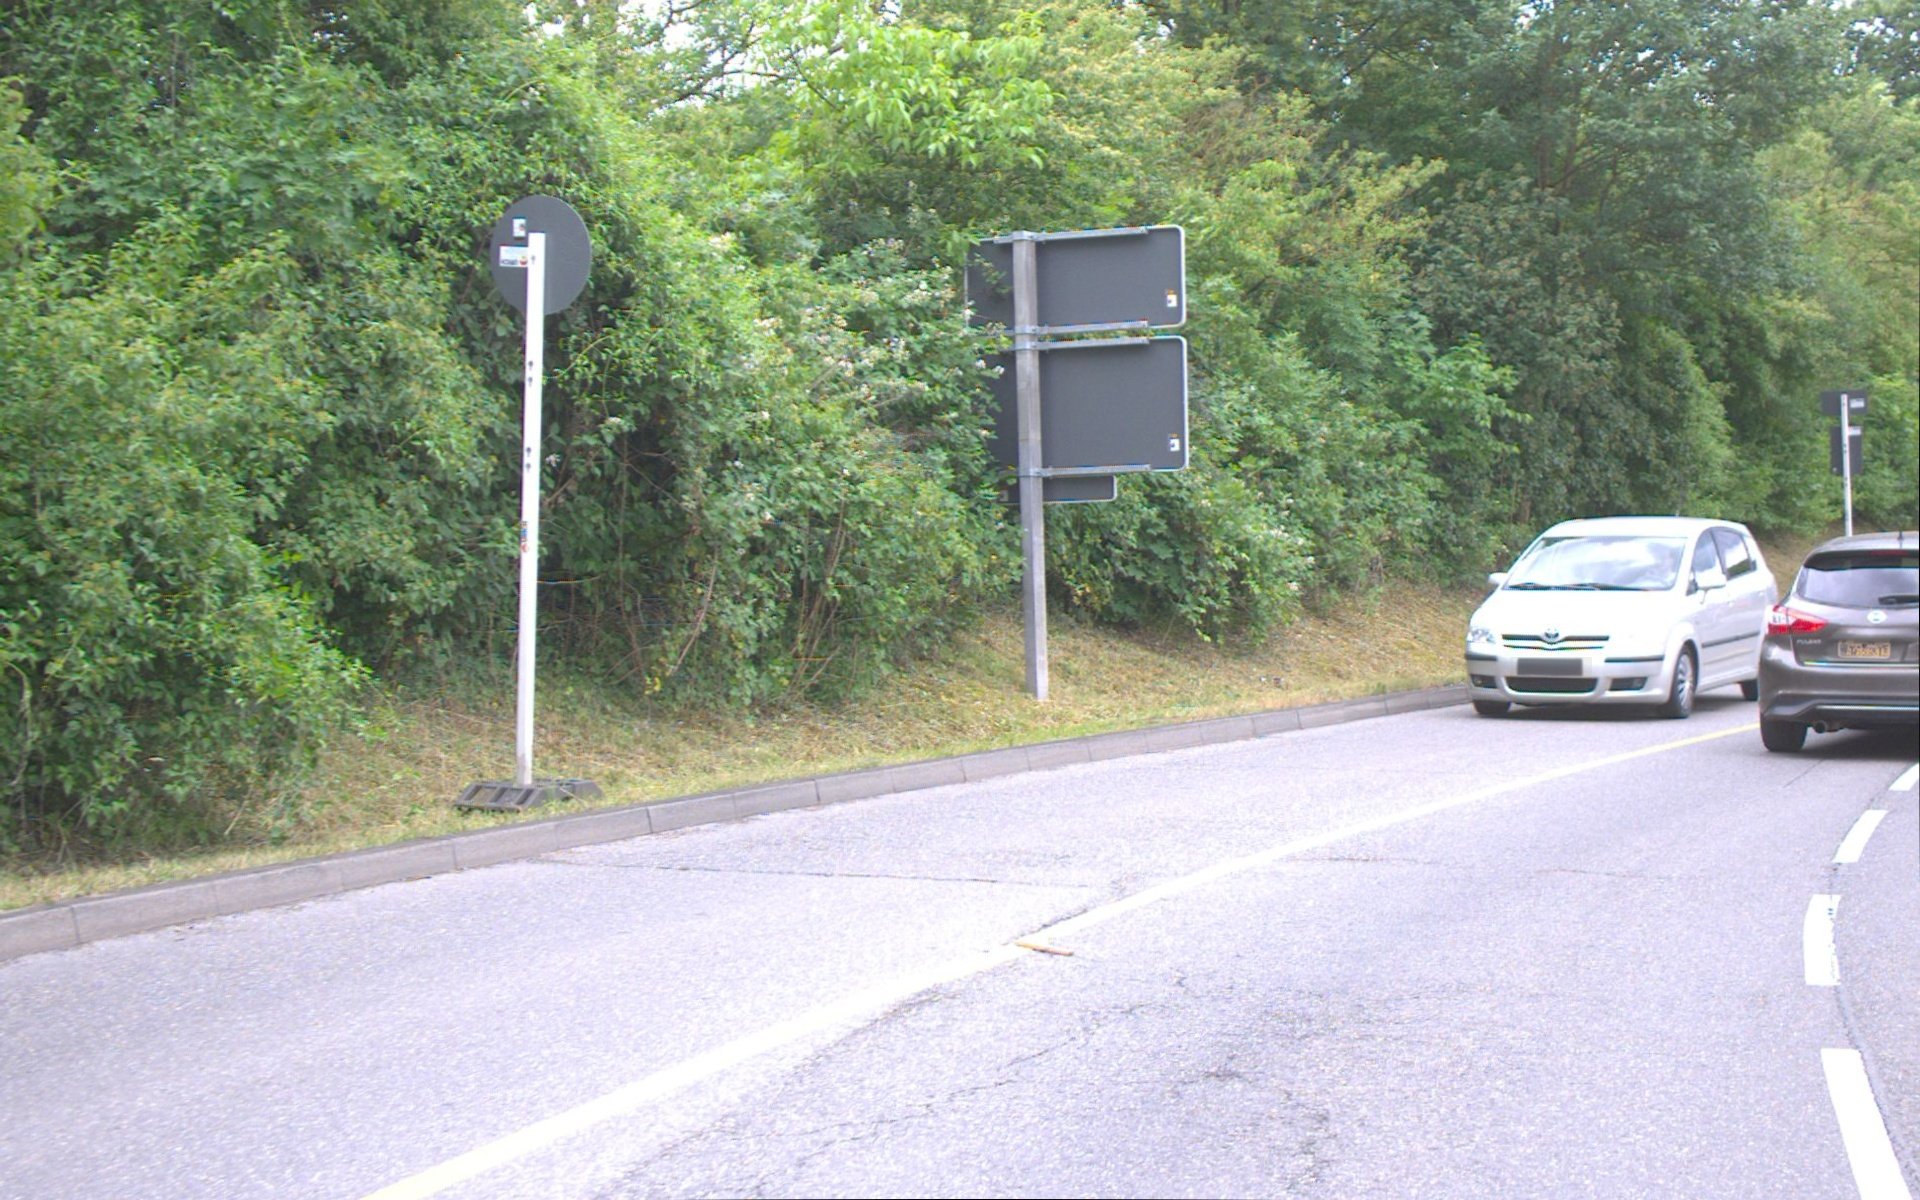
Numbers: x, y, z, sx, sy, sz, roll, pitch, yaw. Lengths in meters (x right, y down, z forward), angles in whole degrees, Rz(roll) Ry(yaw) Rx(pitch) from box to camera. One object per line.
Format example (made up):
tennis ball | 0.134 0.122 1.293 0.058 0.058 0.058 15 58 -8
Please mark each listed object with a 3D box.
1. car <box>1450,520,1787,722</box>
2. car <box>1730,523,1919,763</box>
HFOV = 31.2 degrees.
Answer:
car | 5.589 0.122 28.799 1.659 1.547 4.181 1 1 27
car | 6.866 0.250 24.349 1.800 1.547 3.994 1 1 27
